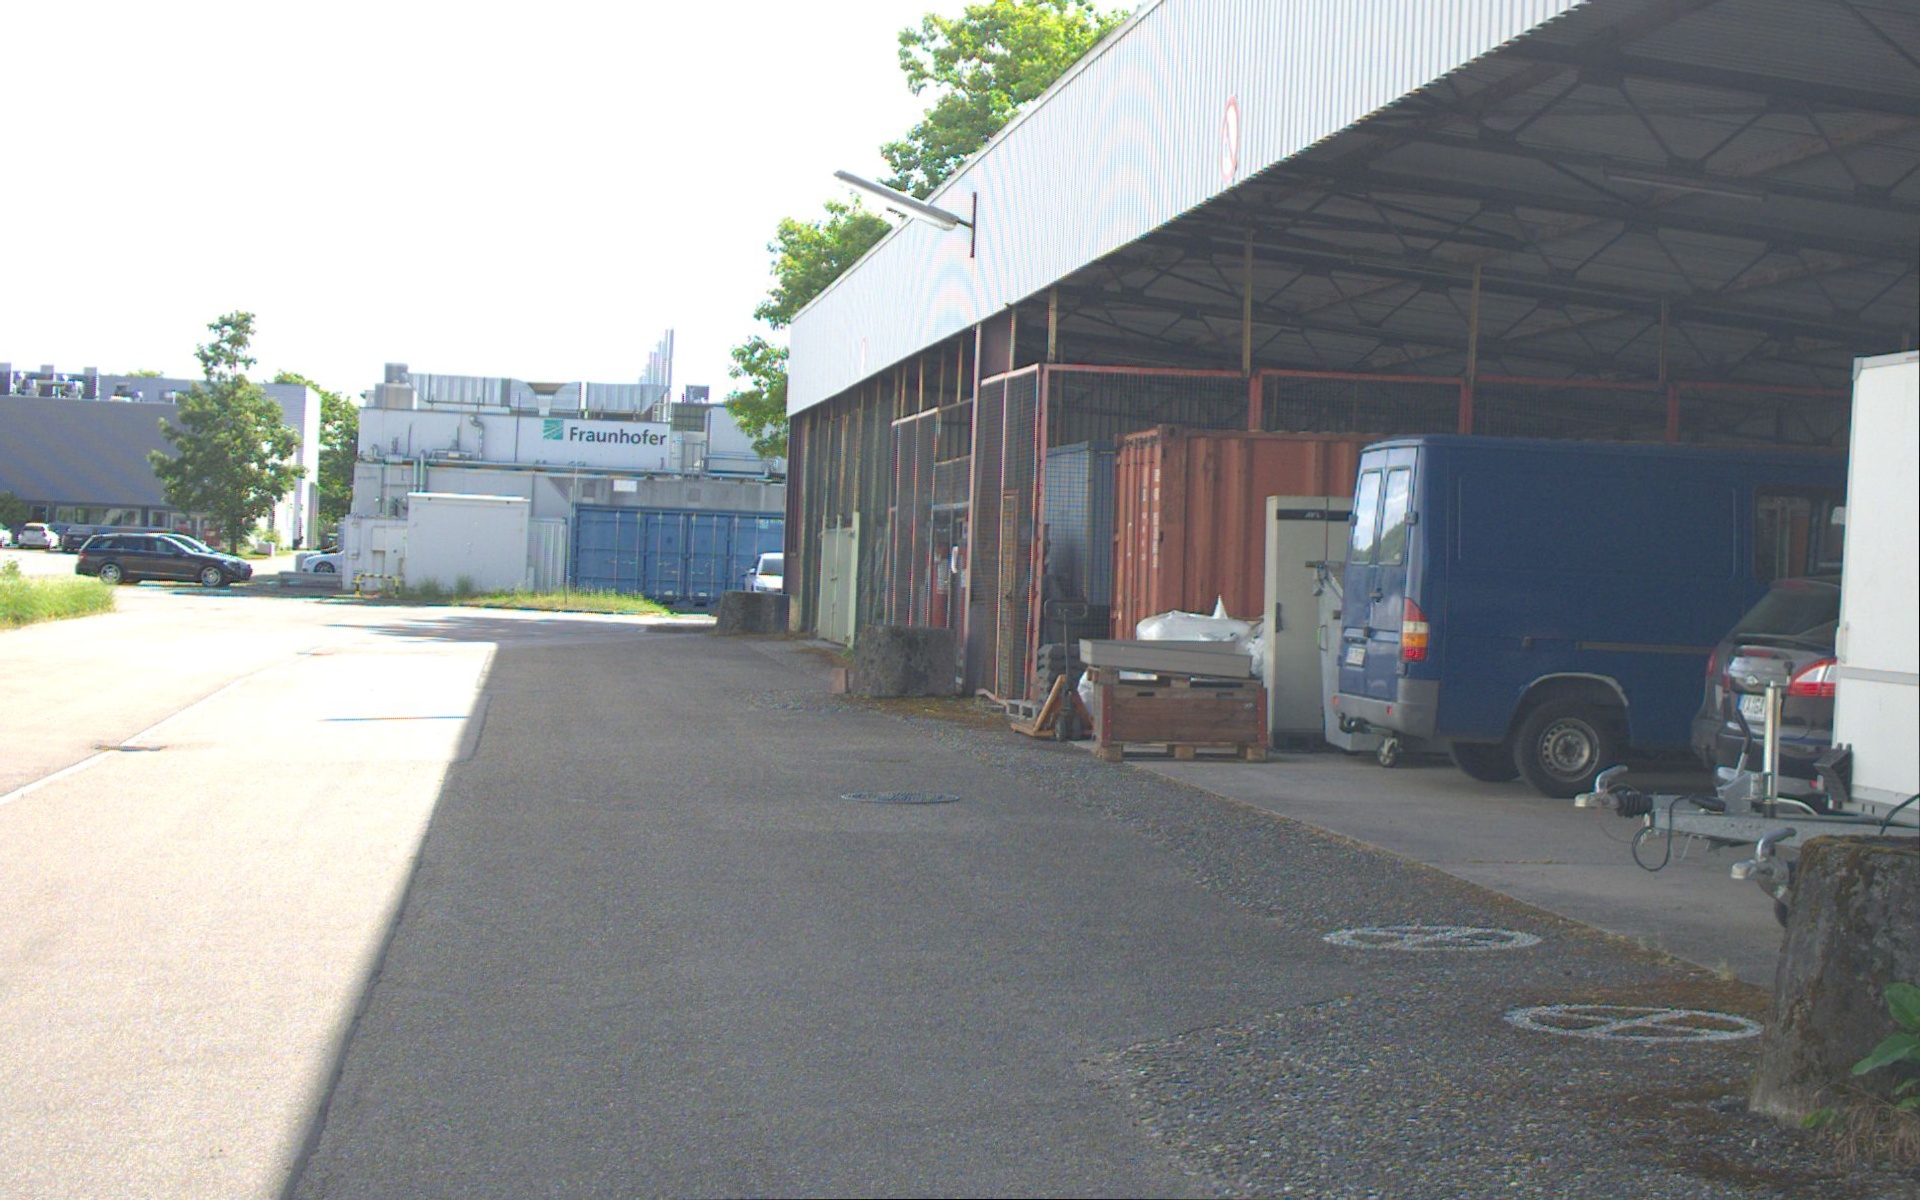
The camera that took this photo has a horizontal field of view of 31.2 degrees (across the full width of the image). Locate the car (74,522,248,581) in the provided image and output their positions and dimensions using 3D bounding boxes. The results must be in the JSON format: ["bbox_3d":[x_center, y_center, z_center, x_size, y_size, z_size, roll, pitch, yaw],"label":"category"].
[{"bbox_3d":[-22.545,-1.368,97.132,4.528,1.438,1.988,2,-1,-7],"label":"car"}]

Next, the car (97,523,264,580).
[{"bbox_3d":[-22.724,-1.415,100.393,4.528,1.438,1.904,2,-1,-7],"label":"car"}]

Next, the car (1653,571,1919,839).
[{"bbox_3d":[6.303,0.585,19.861,4.106,1.449,1.851,1,1,-7],"label":"car"}]

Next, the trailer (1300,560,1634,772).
[{"bbox_3d":[3.711,0.471,25.390,2.094,1.457,1.642,2,0,-4],"label":"trailer"}]

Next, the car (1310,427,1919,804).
[{"bbox_3d":[5.161,0.124,22.939,5.215,2.289,2.084,2,0,-8],"label":"car"}]

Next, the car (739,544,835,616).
[{"bbox_3d":[-4.392,-0.527,86.681,1.980,1.588,4.342,3,2,-8],"label":"car"}]

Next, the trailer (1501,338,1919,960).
[{"bbox_3d":[4.658,0.197,13.955,4.541,2.327,1.689,1,1,-6],"label":"trailer"}]

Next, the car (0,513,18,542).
[{"bbox_3d":[-53.472,-4.033,190.857,1.877,1.532,4.037,1,1,-10],"label":"car"}]

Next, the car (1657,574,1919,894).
[{"bbox_3d":[5.811,0.620,16.720,4.342,1.428,1.865,1,1,-10],"label":"car"}]

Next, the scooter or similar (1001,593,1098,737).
[{"bbox_3d":[0.725,0.515,28.227,0.520,1.131,1.593,2,0,-8],"label":"scooter or similar"}]

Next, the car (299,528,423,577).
[{"bbox_3d":[-21.800,-1.706,125.185,4.278,1.564,1.988,2,-1,-7],"label":"car"}]

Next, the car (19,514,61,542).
[{"bbox_3d":[-51.190,-4.007,191.362,1.877,1.532,4.037,1,1,-10],"label":"car"}]

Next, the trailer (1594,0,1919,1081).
[{"bbox_3d":[7.602,-0.219,11.766,10.291,3.284,2.676,1,1,-6],"label":"trailer"}]
